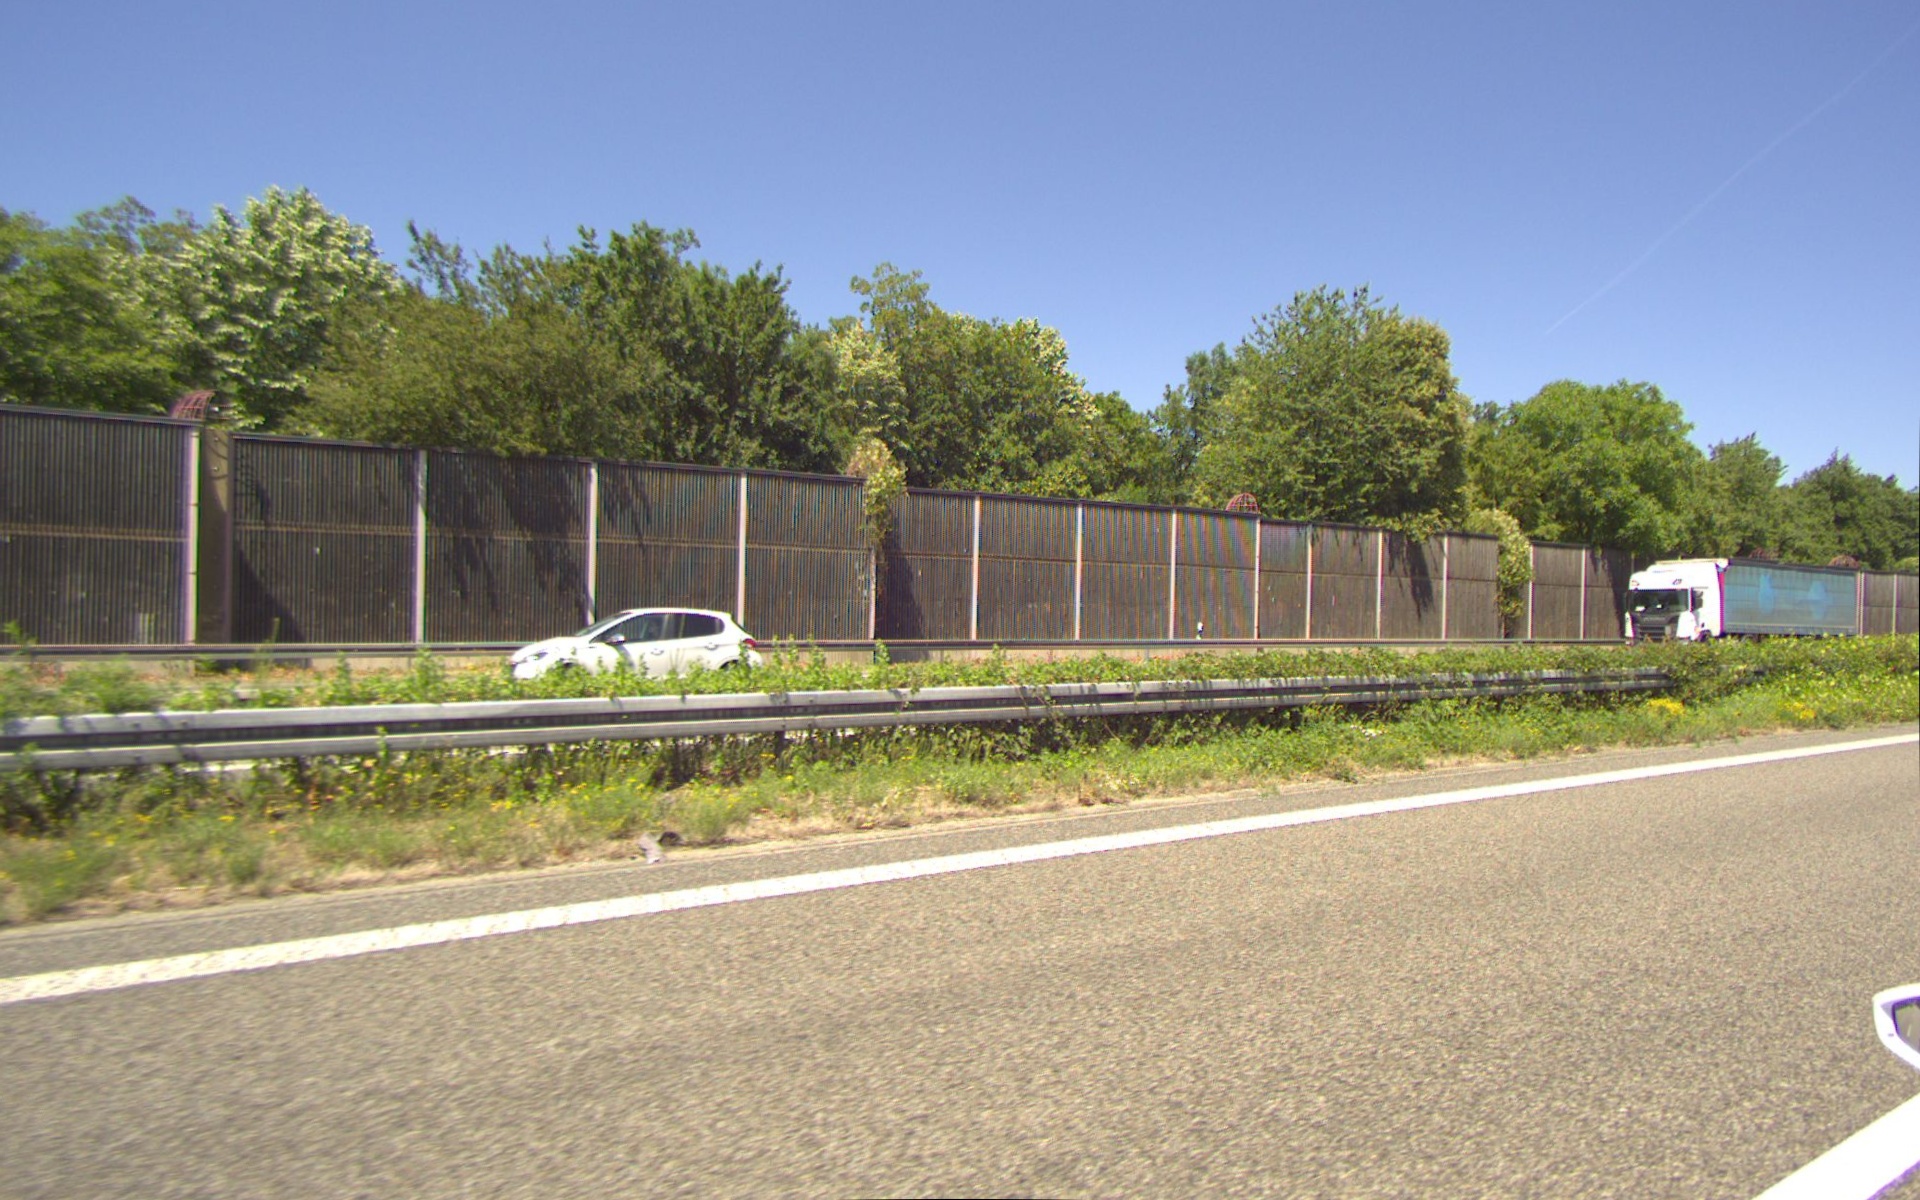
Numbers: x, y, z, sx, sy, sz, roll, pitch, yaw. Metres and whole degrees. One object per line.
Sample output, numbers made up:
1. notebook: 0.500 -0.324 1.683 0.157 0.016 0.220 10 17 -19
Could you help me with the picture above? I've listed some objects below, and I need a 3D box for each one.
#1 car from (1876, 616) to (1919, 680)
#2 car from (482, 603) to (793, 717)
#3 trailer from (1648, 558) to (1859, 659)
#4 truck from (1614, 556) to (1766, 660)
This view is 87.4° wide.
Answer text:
1. car: 33.540 1.654 34.265 4.838 2.041 1.984 1 1 -30
2. car: -5.129 0.894 16.128 4.440 1.611 1.984 1 -1 -30
3. trailer: 36.157 0.515 45.427 14.143 4.075 2.720 2 0 -31
4. truck: 30.628 0.372 42.070 6.658 4.075 2.744 1 0 -31
